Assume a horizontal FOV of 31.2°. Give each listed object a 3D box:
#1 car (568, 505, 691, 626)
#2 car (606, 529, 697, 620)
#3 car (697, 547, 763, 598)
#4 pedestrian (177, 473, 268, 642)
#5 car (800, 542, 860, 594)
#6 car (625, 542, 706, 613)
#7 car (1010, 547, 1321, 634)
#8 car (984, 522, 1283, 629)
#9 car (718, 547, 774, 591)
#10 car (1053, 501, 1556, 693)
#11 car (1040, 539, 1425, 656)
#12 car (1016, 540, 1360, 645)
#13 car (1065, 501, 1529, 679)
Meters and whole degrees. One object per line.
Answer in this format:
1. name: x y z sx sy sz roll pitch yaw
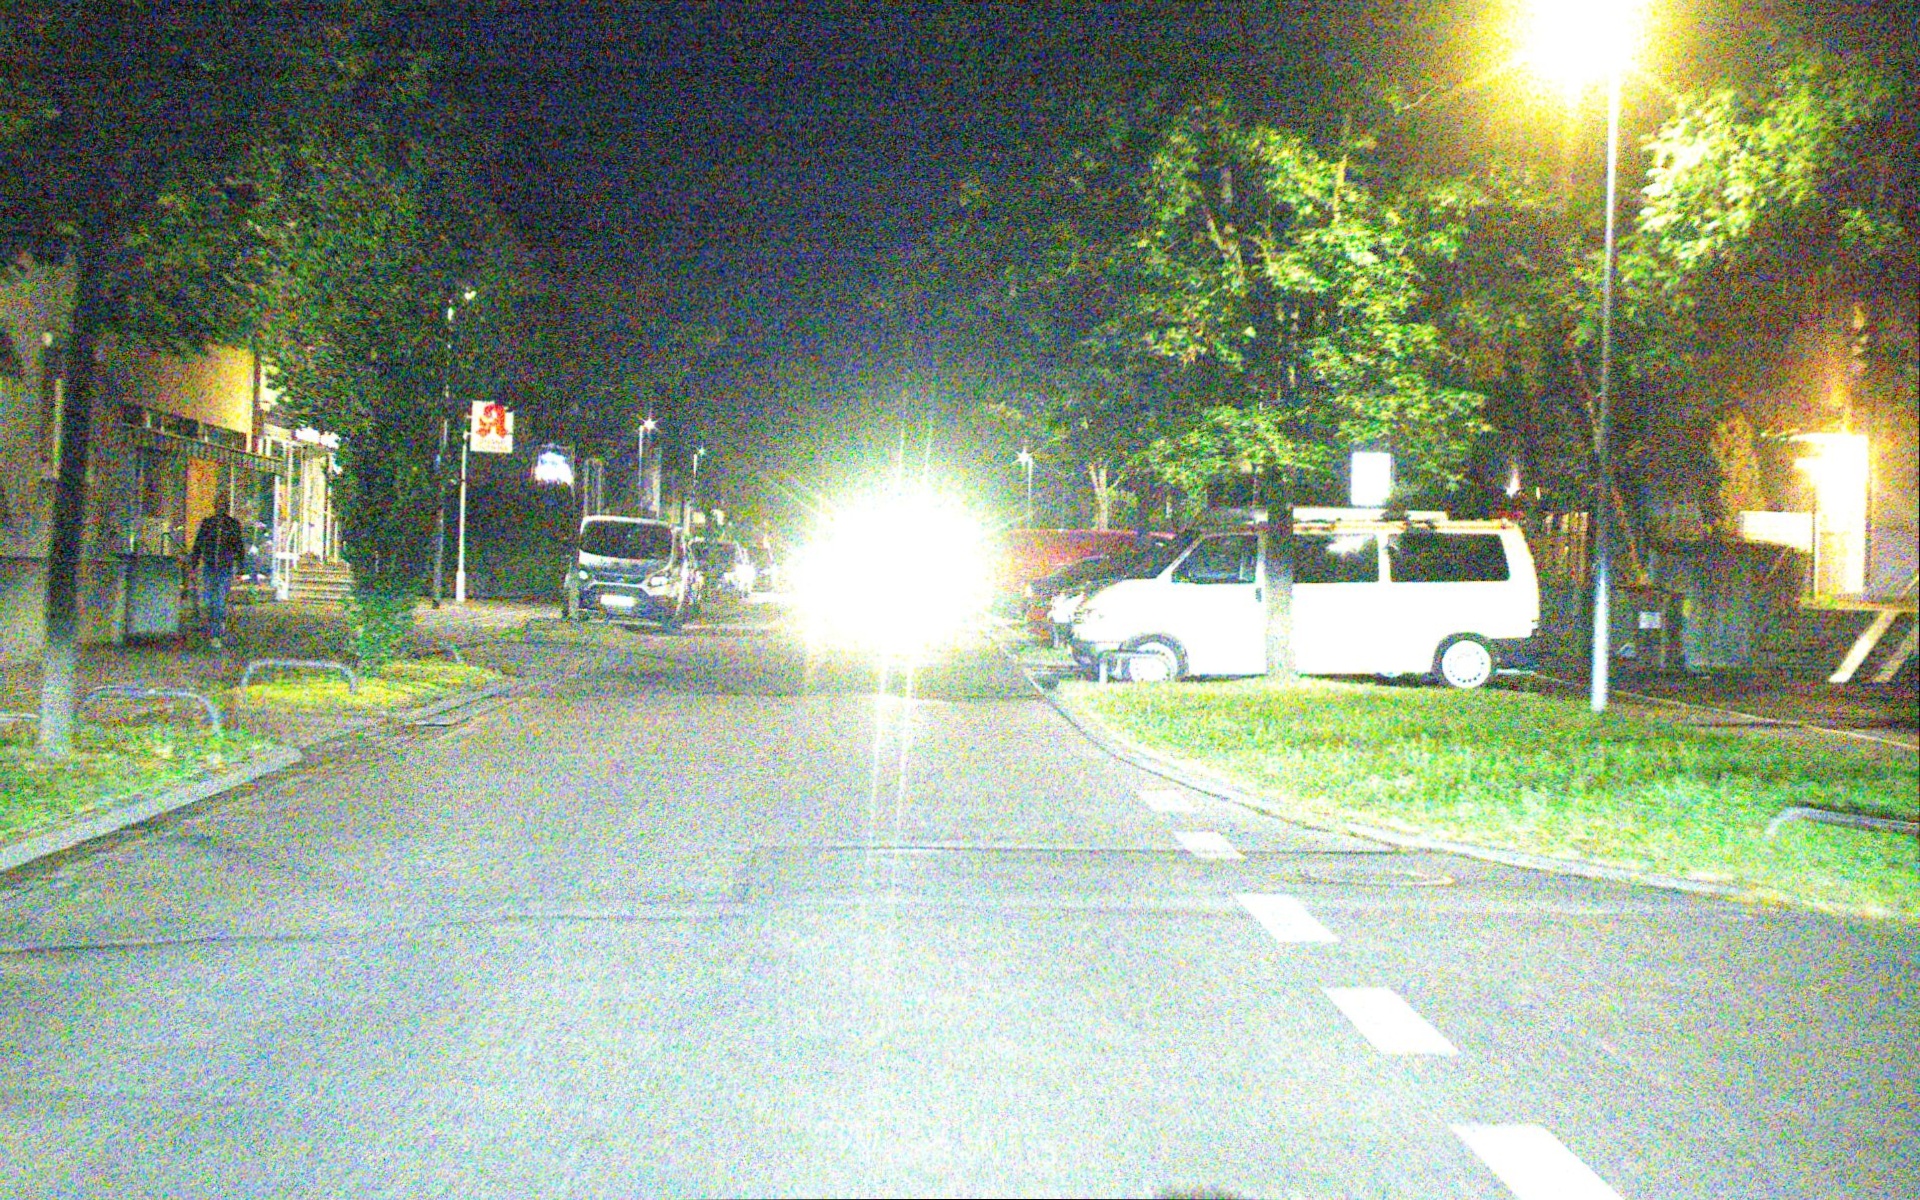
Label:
1. car: -5.819 -0.629 60.963 1.824 1.980 4.466 3 1 -2
2. car: -6.064 -0.516 67.810 1.534 1.682 3.212 3 1 -2
3. car: -6.253 -0.774 93.806 1.683 1.326 3.600 1 1 -2
4. pedestrian: -8.992 -0.521 41.950 0.785 2.007 1.204 3 1 -1
5. car: -4.237 -1.047 112.071 1.927 1.643 3.822 0 1 -2
6. car: -6.220 -0.498 72.844 1.534 1.446 3.119 1 1 -2
7. car: 3.506 -0.176 59.284 5.182 1.464 2.102 0 1 -2
8. car: 3.153 -0.444 61.878 5.184 1.880 2.101 0 1 9
9. car: -6.803 -0.998 109.480 1.683 1.326 3.600 1 1 -2
10. car: 3.661 -0.054 37.231 5.182 2.007 2.102 0 1 -2
11. car: 3.774 -0.053 48.278 5.182 1.588 2.102 0 1 -2
12. car: 3.511 -0.131 53.769 5.182 1.588 2.102 0 1 -2
13. car: 3.885 -0.132 40.296 5.182 2.007 2.102 0 1 -2
